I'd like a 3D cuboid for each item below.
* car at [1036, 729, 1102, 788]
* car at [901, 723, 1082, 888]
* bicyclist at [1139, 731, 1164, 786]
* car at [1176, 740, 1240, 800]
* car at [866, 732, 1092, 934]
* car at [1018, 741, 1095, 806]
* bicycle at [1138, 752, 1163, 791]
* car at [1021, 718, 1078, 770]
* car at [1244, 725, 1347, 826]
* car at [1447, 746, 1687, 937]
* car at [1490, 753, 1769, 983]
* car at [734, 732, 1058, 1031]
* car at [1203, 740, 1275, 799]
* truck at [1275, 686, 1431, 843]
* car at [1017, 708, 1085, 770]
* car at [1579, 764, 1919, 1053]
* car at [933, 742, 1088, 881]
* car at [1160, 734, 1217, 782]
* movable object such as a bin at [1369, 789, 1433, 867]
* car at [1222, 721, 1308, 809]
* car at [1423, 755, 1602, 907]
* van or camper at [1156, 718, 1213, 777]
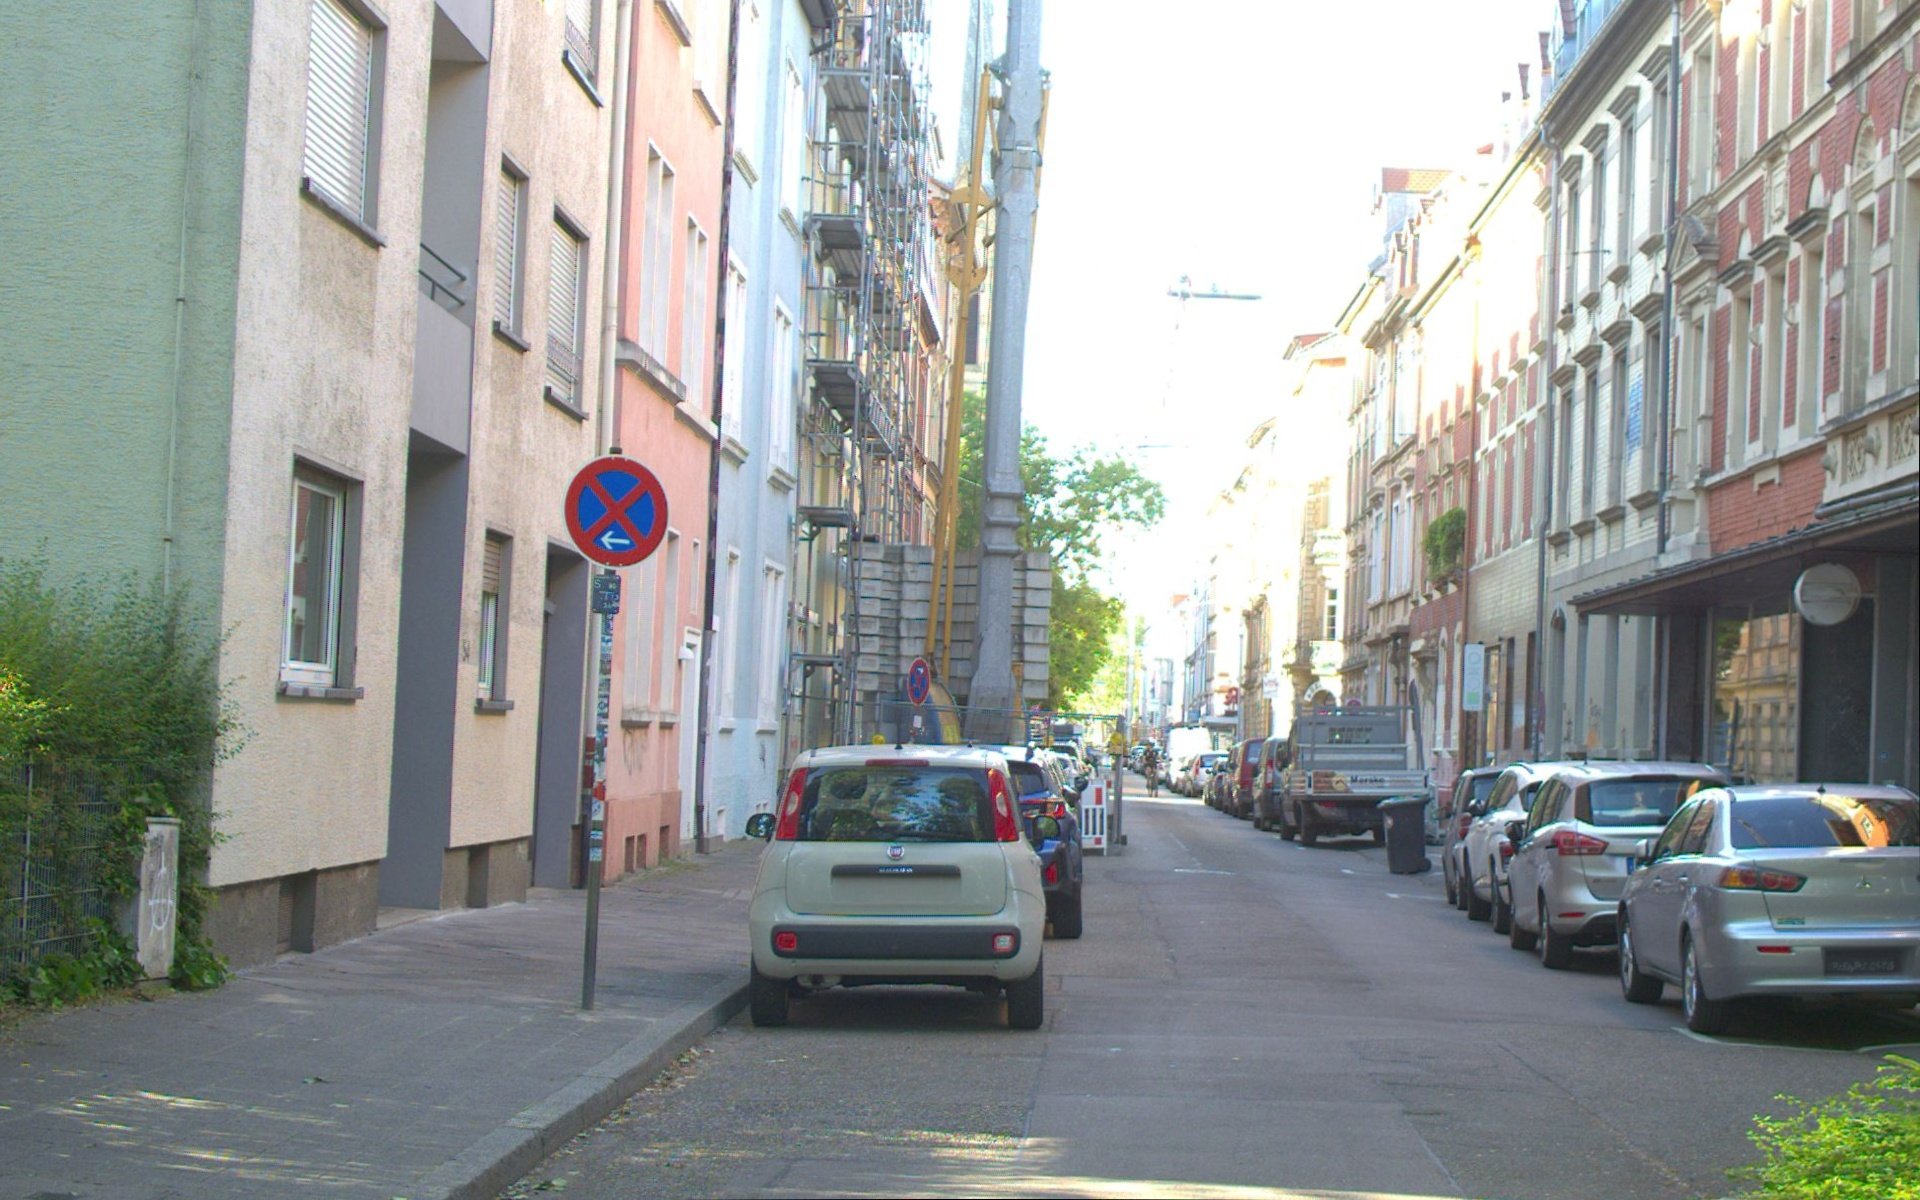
[{"bbox_3d":[3.061,4.473,97.174,1.675,1.566,3.869,2,-3,0],"label":"car"},{"bbox_3d":[0.375,2.038,34.885,1.675,1.507,4.414,2,-2,2],"label":"car"},{"bbox_3d":[6.272,5.185,112.711,0.730,1.755,0.835,3,-2,3],"label":"bicyclist"},{"bbox_3d":[8.746,5.985,121.468,1.993,2.007,3.999,2,-2,1],"label":"car"},{"bbox_3d":[0.147,1.909,28.955,1.729,1.535,4.377,1,-3,0],"label":"car"},{"bbox_3d":[2.278,4.109,81.831,1.675,1.440,3.869,2,-3,0],"label":"car"},{"bbox_3d":[6.227,5.628,112.705,0.724,1.182,2.042,3,-1,3],"label":"bicycle"},{"bbox_3d":[3.271,5.287,126.329,1.993,1.843,3.999,1,-2,1],"label":"car"},{"bbox_3d":[6.909,3.619,71.157,1.675,1.956,4.108,2,-3,0],"label":"car"},{"bbox_3d":[5.834,2.292,33.479,1.747,1.670,4.339,2,-3,3],"label":"car"},{"bbox_3d":[5.337,2.103,27.815,1.640,1.651,3.868,3,-3,3],"label":"car"},{"bbox_3d":[-0.342,1.573,20.148,1.675,1.535,3.869,2,-3,0],"label":"car"},{"bbox_3d":[7.853,4.784,97.089,1.675,1.566,3.869,2,-3,0],"label":"car"},{"bbox_3d":[6.884,2.878,60.670,2.190,2.598,5.233,1,-2,1],"label":"truck"},{"bbox_3d":[2.420,3.734,92.034,1.675,1.566,3.869,2,-3,0],"label":"car"},{"bbox_3d":[5.138,1.857,21.615,1.721,1.557,4.397,3,-3,1],"label":"car"},{"bbox_3d":[0.640,2.458,40.593,1.675,1.472,4.607,2,-3,2],"label":"car"},{"bbox_3d":[8.986,6.210,135.415,1.993,1.843,3.999,1,-2,1],"label":"car"},{"bbox_3d":[6.204,3.207,48.406,0.795,1.052,0.660,2,-2,2],"label":"movable object such as a bin"},{"bbox_3d":[7.391,3.996,83.636,1.675,2.024,3.869,2,-3,0],"label":"car"},{"bbox_3d":[6.165,2.556,38.653,1.597,1.555,3.812,2,-2,4],"label":"car"},{"bbox_3d":[9.783,6.430,150.078,1.993,2.500,4.202,2,-2,-2],"label":"van or camper"}]
